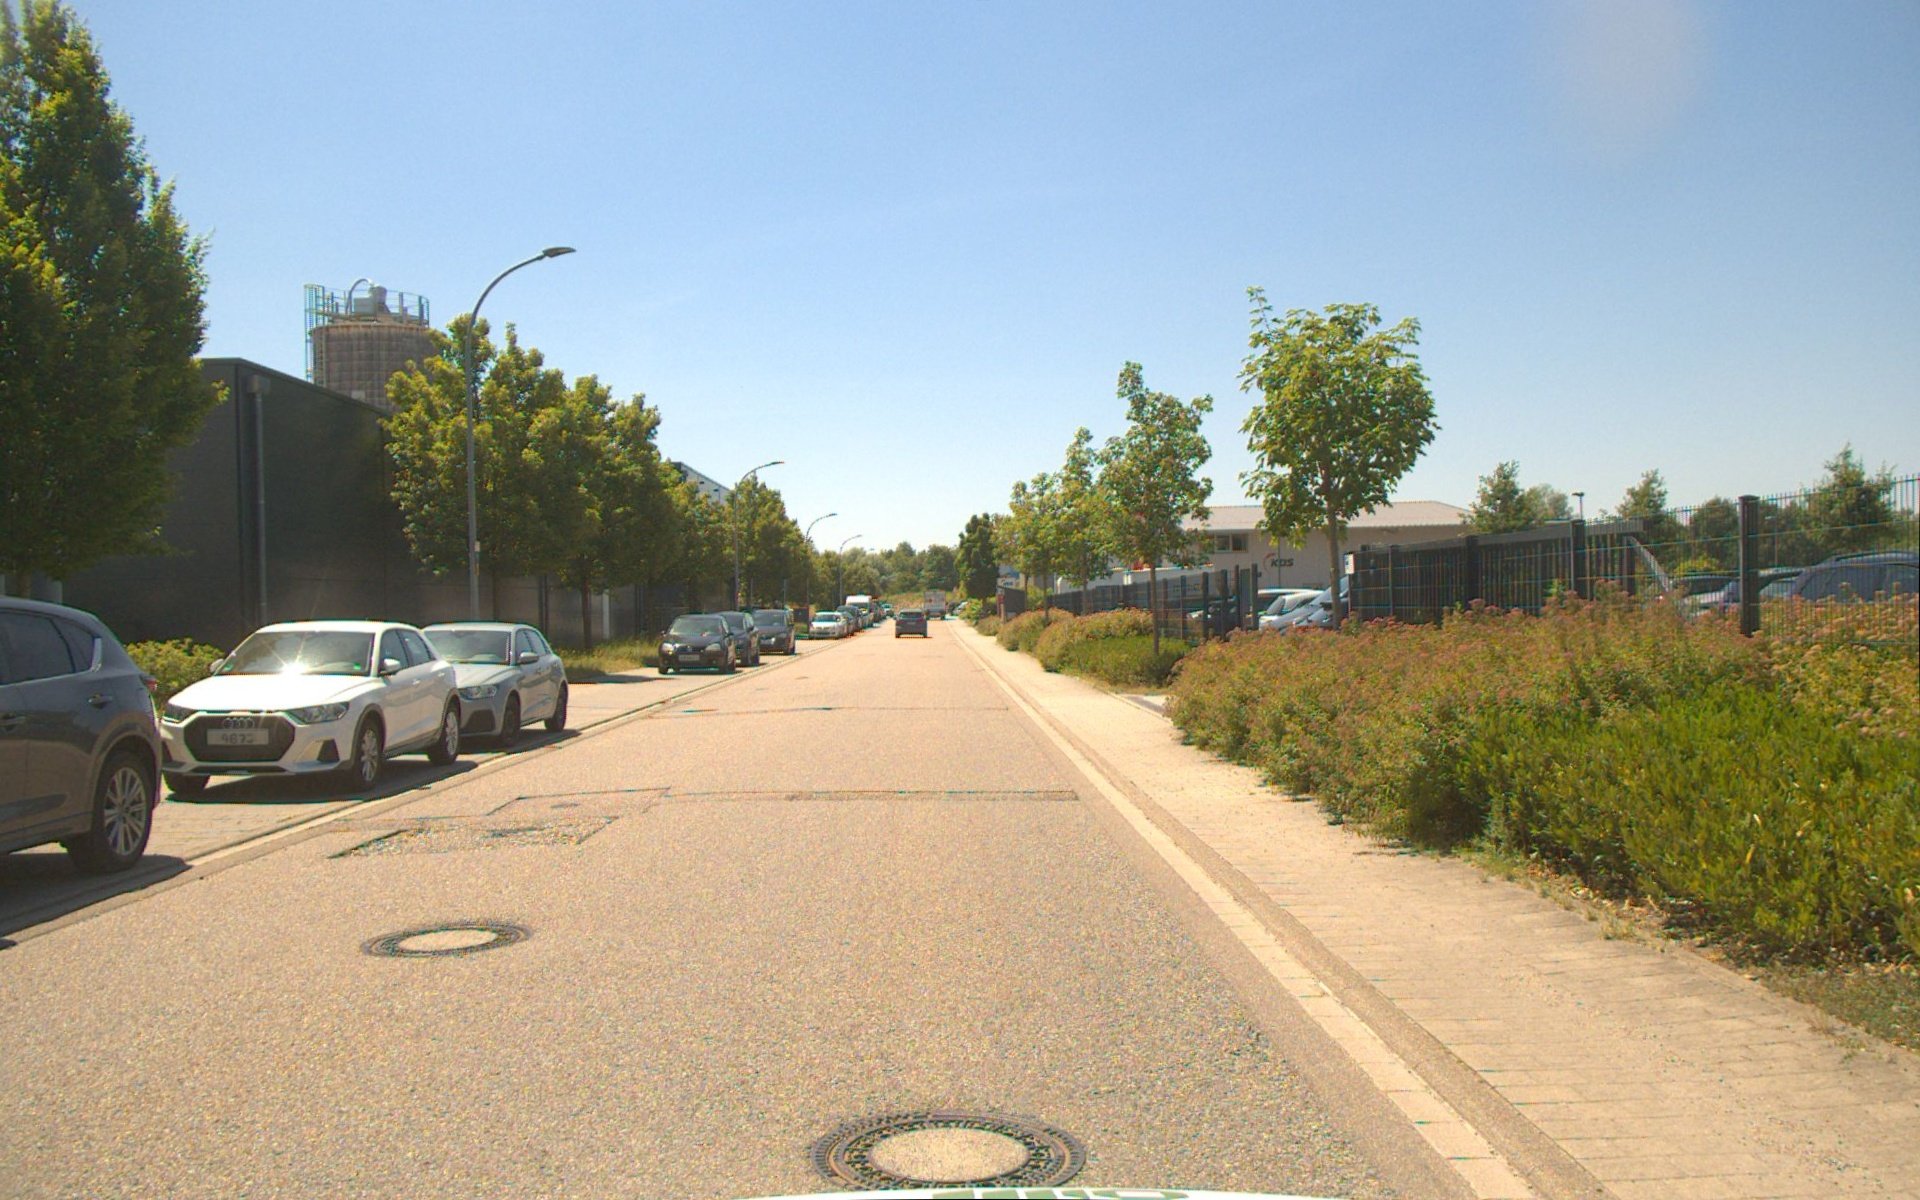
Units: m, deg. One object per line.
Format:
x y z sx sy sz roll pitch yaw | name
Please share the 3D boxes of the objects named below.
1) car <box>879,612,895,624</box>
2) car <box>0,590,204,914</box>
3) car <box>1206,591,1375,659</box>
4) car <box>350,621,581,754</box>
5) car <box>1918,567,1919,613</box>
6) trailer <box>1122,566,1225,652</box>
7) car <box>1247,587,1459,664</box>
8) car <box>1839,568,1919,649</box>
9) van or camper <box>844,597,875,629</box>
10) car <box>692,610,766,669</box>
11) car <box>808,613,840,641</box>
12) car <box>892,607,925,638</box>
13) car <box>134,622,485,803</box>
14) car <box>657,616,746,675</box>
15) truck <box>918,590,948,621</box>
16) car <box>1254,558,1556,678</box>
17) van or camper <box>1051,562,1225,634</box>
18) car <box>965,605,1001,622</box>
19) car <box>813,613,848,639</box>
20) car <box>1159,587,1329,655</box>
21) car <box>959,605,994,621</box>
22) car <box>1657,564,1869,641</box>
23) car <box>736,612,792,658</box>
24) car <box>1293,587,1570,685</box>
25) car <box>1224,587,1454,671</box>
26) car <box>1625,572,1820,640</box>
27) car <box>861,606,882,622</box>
-9.374 2.267 211.961 1.762 1.513 4.252 -1 0 1 | car
-5.765 0.779 8.495 1.735 1.652 4.581 0 -1 -1 | car
7.760 0.591 39.036 3.591 1.447 1.644 -2 -1 -2 | car
-5.975 0.998 20.438 1.735 1.456 3.939 0 -1 -1 | car
18.567 0.053 27.759 3.907 1.427 1.818 -2 -1 -2 | car
6.462 0.281 50.242 2.768 2.445 1.418 -3 0 -5 | trailer
8.622 0.549 36.470 4.193 1.470 1.754 -3 -1 -2 | car
18.565 0.093 30.448 3.793 1.427 1.767 -2 -1 1 | car
-8.159 1.034 134.627 2.035 2.526 6.131 1 -1 1 | van or camper
-6.888 1.152 49.717 1.735 1.640 4.850 -1 -1 -2 | car
-7.625 1.494 93.182 1.686 1.502 3.854 -1 -1 -3 | car
-2.857 1.261 92.689 1.753 1.652 3.808 1 -1 -1 | car
-5.933 0.951 15.653 1.735 1.456 4.200 0 -1 -1 | car
-6.700 1.141 43.191 1.735 1.456 4.200 0 -1 -1 | car
-2.674 0.582 165.970 2.873 3.026 6.418 1 -1 -1 | truck
8.200 0.331 30.758 5.011 1.906 1.902 -3 -1 -2 | car
7.099 -0.074 66.566 6.621 2.630 2.634 -2 -1 -2 | van or camper
2.478 1.438 181.025 3.799 1.780 1.750 1 -1 -4 | car
-7.663 1.547 98.443 1.762 1.502 4.554 -1 -1 -1 | car
7.122 0.529 41.679 3.907 1.548 1.822 -2 -1 -2 | car
1.805 1.455 183.707 3.799 1.780 1.750 1 -1 -4 | car
18.647 0.063 38.508 3.960 1.579 1.918 -2 -1 -2 | car
-7.223 1.274 61.301 1.735 1.640 4.245 -1 -1 -2 | car
7.938 0.595 28.081 4.131 1.447 1.764 -2 -1 -2 | car
7.659 0.586 33.641 4.257 1.474 1.602 -3 -1 -2 | car
18.748 0.142 40.783 3.960 1.473 1.775 -2 -1 -2 | car
-8.700 1.401 162.214 1.762 1.513 4.252 -1 0 1 | car
